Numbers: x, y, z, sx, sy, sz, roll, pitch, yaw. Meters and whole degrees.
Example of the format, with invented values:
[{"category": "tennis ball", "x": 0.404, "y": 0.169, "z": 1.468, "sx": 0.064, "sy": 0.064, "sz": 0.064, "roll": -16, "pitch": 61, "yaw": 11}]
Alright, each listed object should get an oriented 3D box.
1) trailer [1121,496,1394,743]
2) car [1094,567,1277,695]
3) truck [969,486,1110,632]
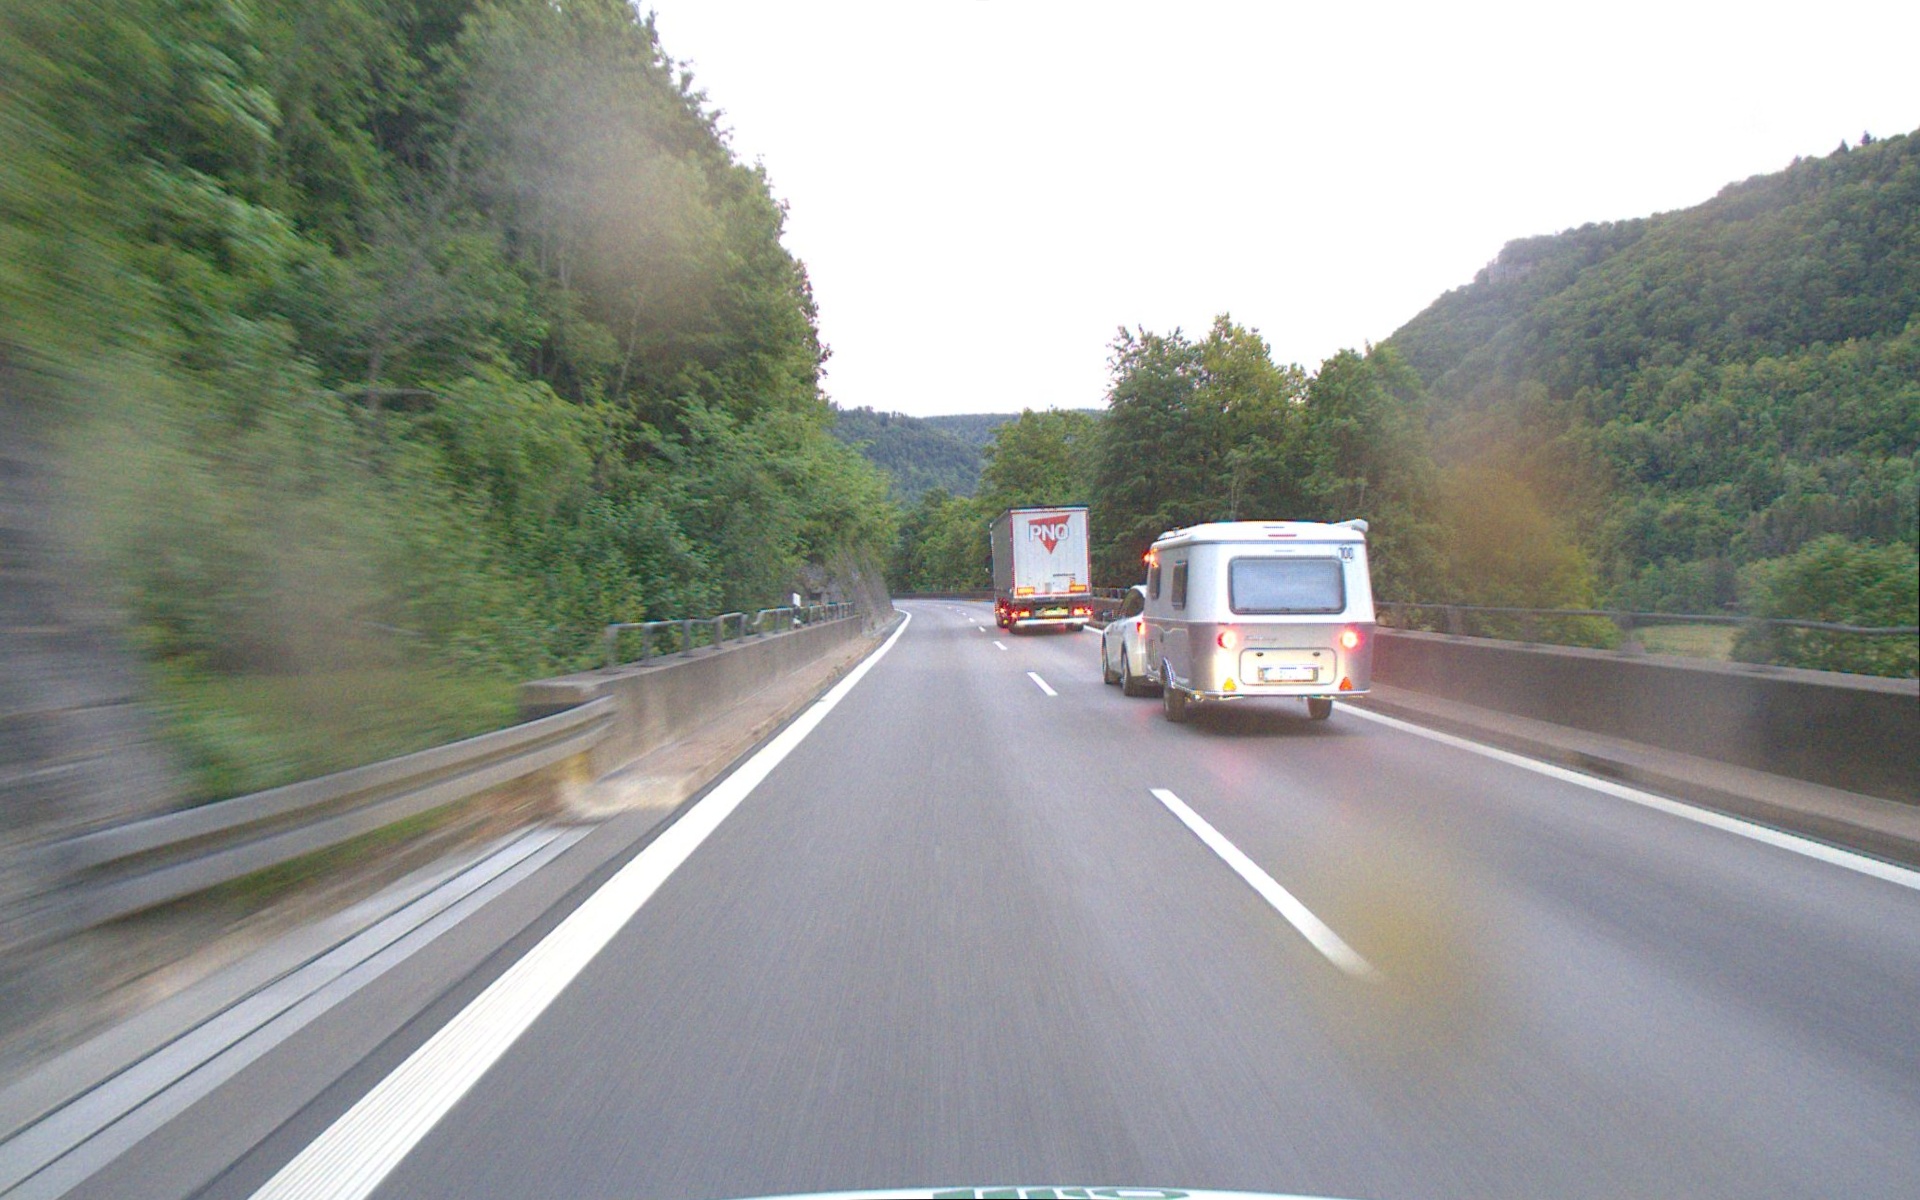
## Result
[{"category": "trailer", "x": 3.361, "y": 0.179, "z": 20.053, "sx": 2.013, "sy": 2.416, "sz": 5.937, "roll": -4, "pitch": 0, "yaw": -1}, {"category": "car", "x": 3.296, "y": 0.421, "z": 25.187, "sx": 1.953, "sy": 1.642, "sz": 4.863, "roll": -3, "pitch": 0, "yaw": -1}, {"category": "truck", "x": 2.499, "y": -1.249, "z": 59.096, "sx": 3.230, "sy": 4.244, "sz": 16.494, "roll": -5, "pitch": 0, "yaw": -3}]
